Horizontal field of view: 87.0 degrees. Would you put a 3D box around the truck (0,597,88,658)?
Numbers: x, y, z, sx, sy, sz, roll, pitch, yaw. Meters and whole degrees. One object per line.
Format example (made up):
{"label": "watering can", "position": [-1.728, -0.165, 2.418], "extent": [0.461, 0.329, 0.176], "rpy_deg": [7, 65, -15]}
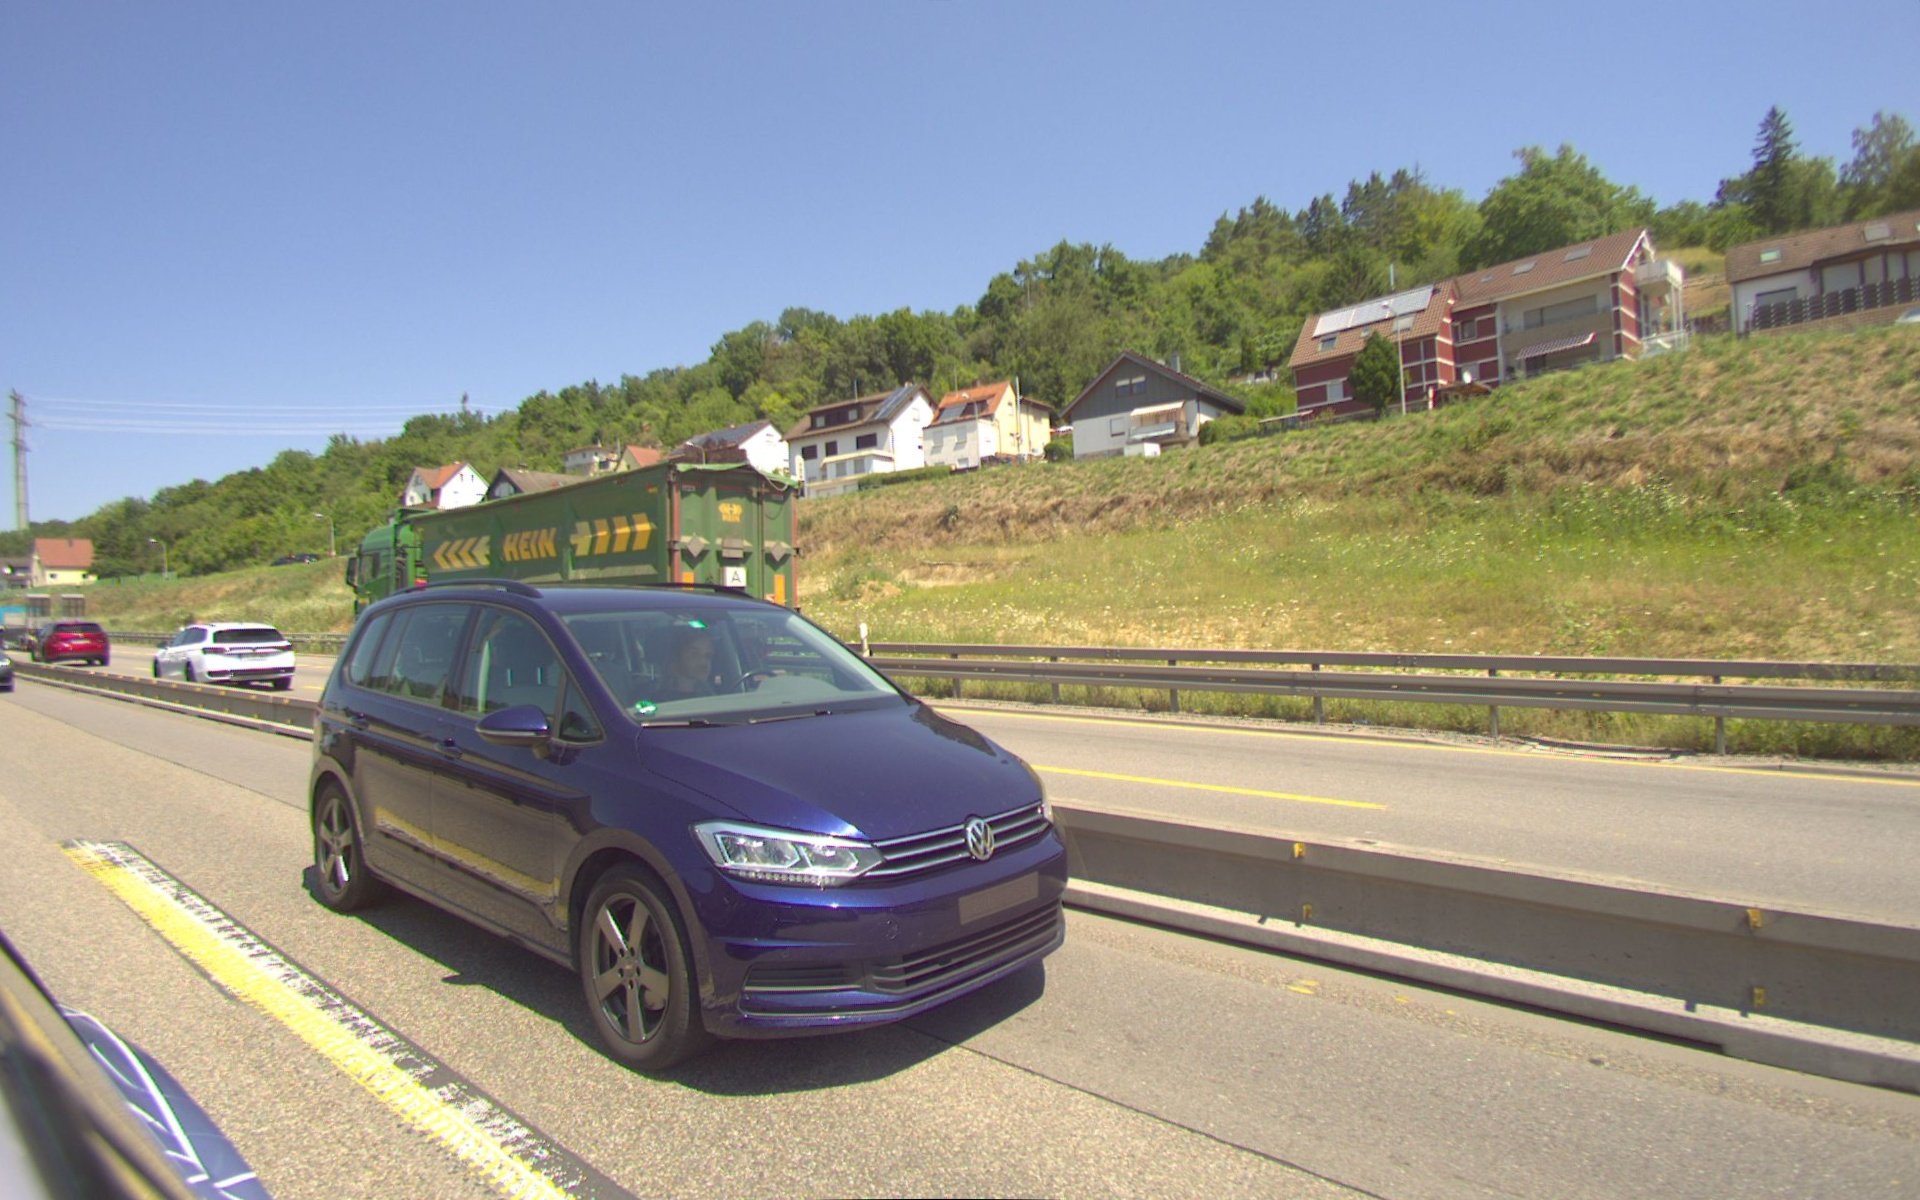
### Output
{"label": "truck", "position": [-56.690, 1.679, 61.810], "extent": [15.924, 3.348, 2.734], "rpy_deg": [-2, -1, 40]}

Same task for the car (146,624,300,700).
{"label": "car", "position": [-16.305, 1.293, 22.303], "extent": [4.436, 1.481, 1.755], "rpy_deg": [-2, -1, 40]}

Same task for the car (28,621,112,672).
{"label": "car", "position": [-32.526, 1.668, 36.957], "extent": [4.043, 1.729, 1.793], "rpy_deg": [-2, -1, 41]}

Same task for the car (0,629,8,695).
{"label": "car", "position": [-23.561, 1.468, 23.475], "extent": [4.334, 1.466, 1.757], "rpy_deg": [-2, -1, 41]}

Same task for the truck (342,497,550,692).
{"label": "truck", "position": [-11.753, -0.065, 23.079], "extent": [4.176, 3.968, 2.865], "rpy_deg": [-2, -1, 41]}

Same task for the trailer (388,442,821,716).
{"label": "trailer", "position": [-7.250, -0.189, 19.181], "extent": [10.520, 3.968, 2.883], "rpy_deg": [-2, -1, 41]}

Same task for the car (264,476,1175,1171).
{"label": "car", "position": [-1.520, 0.619, 4.733], "extent": [4.649, 1.731, 1.757], "rpy_deg": [-2, -1, 41]}
